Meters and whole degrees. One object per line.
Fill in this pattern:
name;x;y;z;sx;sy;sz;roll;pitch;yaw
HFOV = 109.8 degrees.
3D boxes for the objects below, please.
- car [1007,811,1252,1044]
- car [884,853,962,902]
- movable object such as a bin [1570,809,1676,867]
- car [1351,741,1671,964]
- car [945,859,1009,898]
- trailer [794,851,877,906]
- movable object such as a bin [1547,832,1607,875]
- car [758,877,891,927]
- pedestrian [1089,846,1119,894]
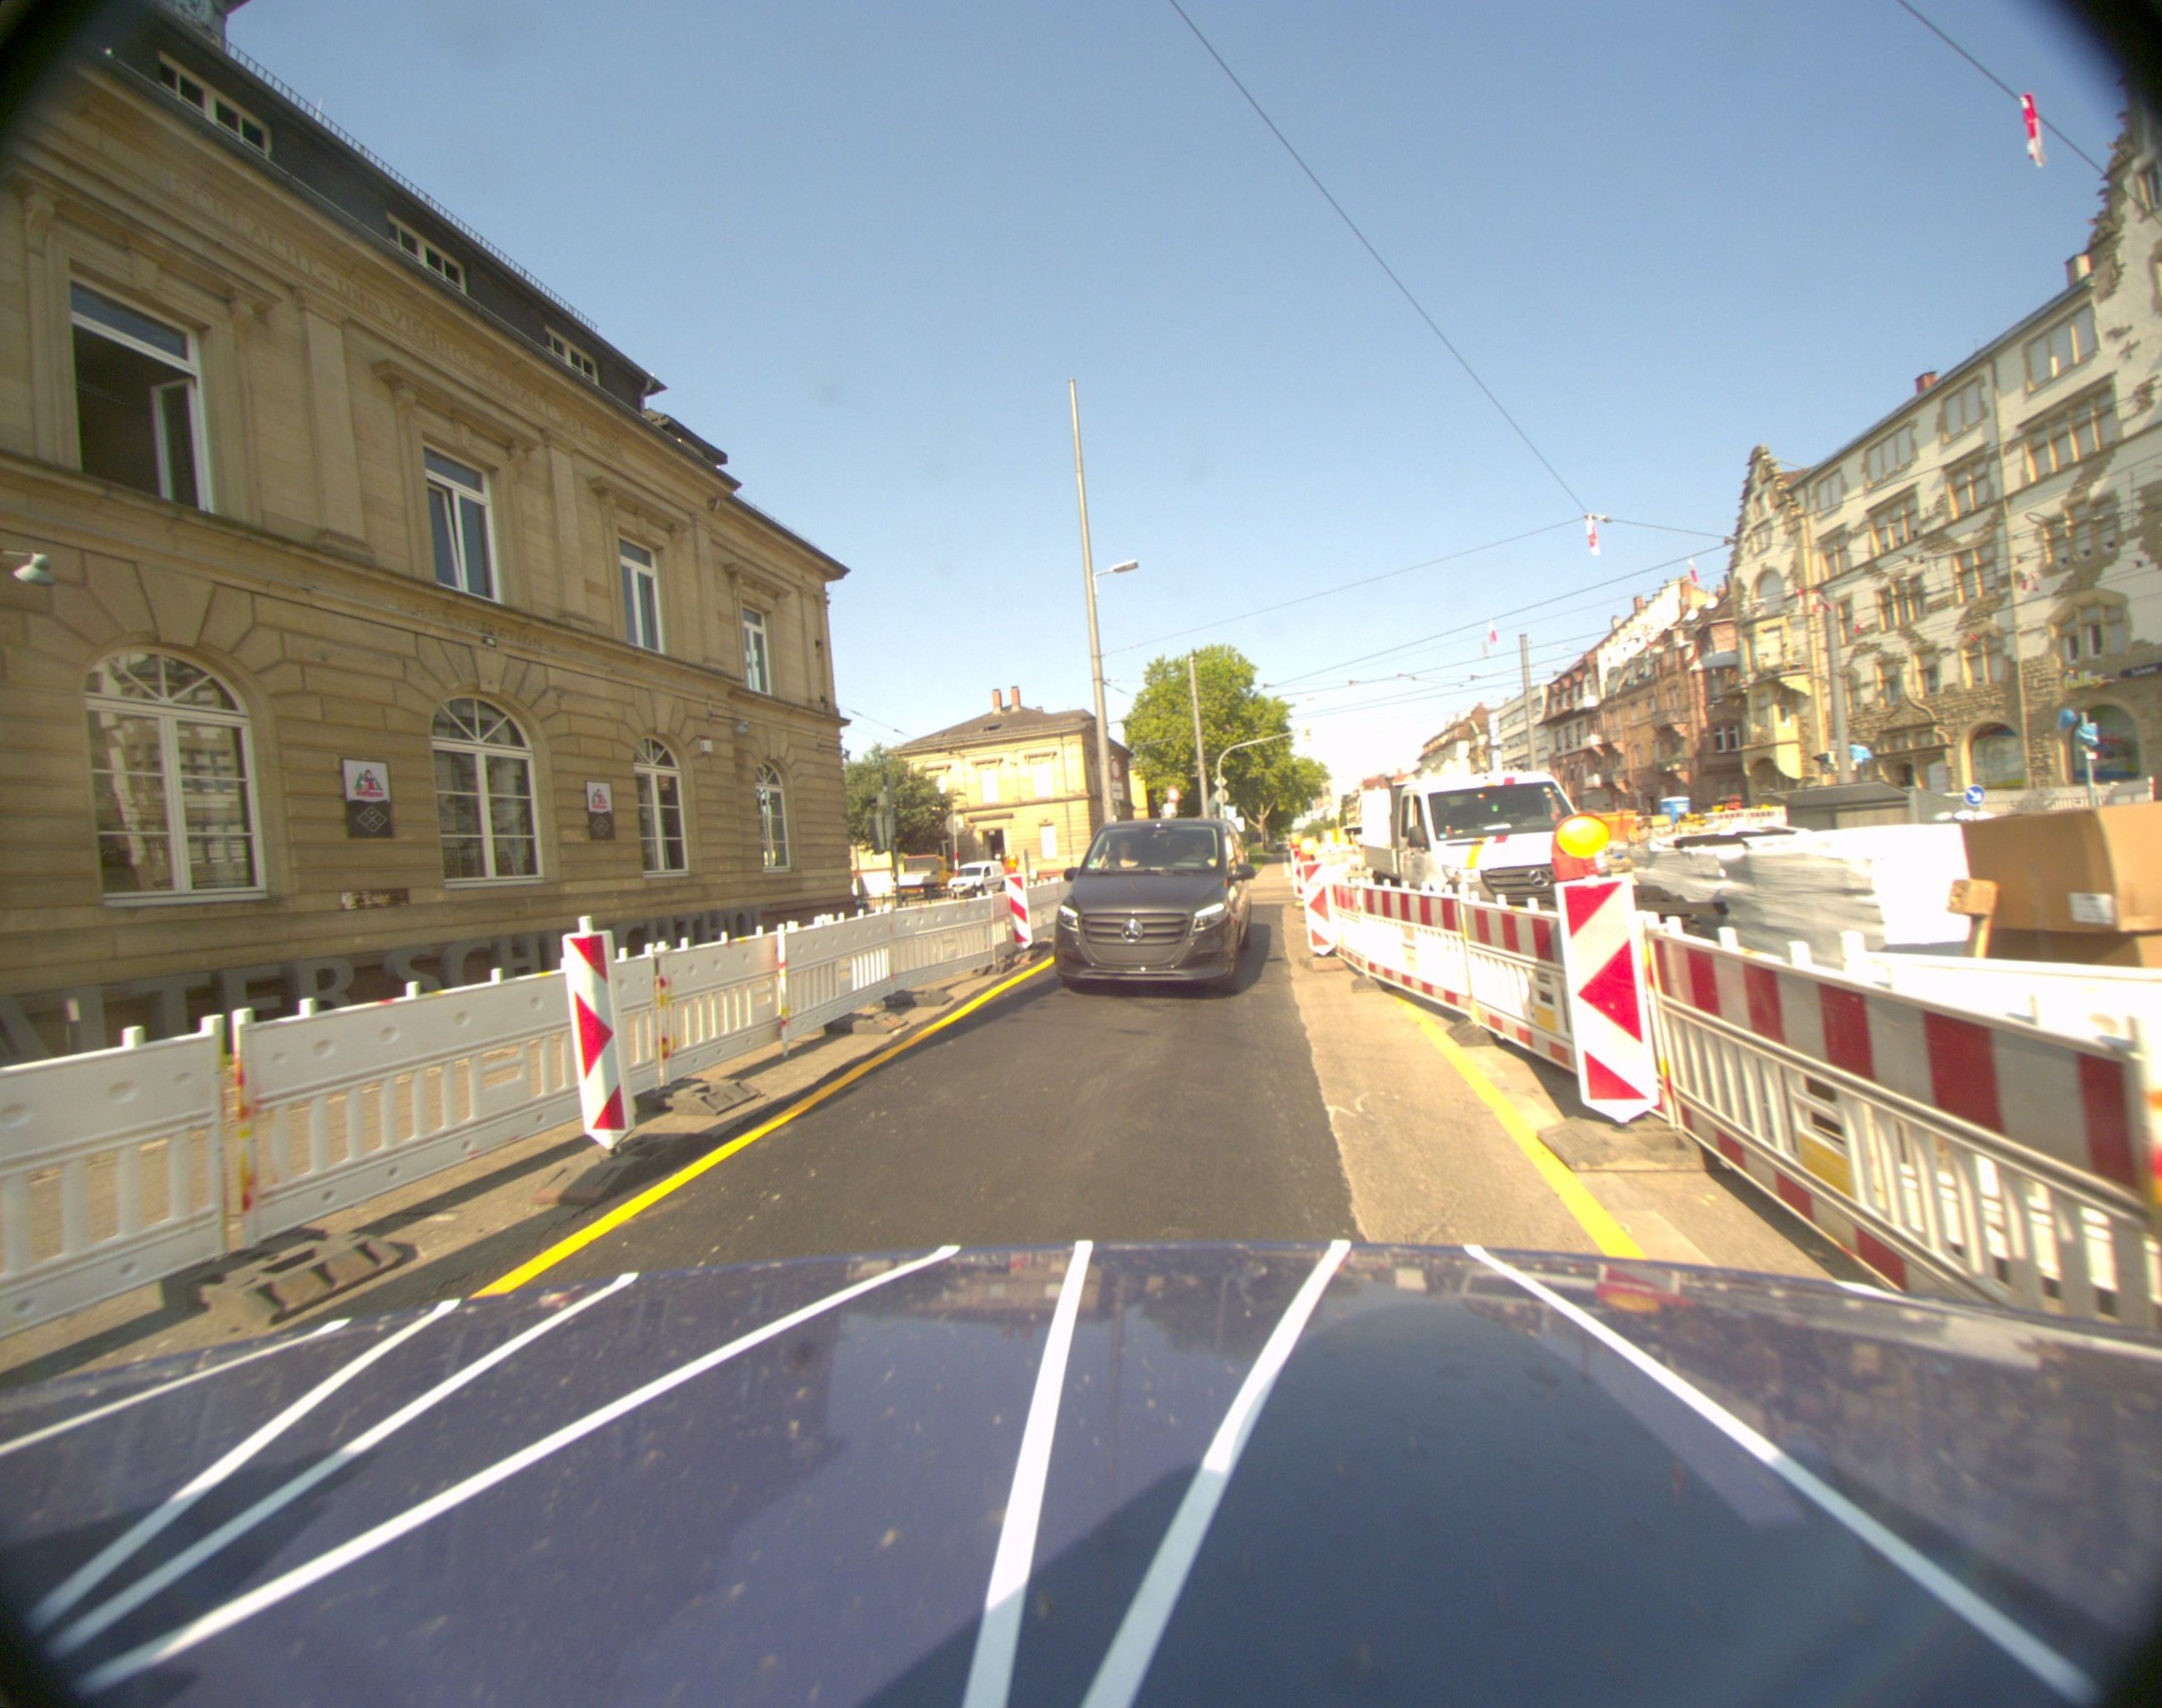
car;0.821;0.566;8.342;1.851;1.875;4.183;-1;1;15
car;-8.758;1.246;42.794;2.262;2.408;5.492;-4;0;10
movable object such as a bin;16.600;-0.497;23.448;1.602;1.549;3.289;-4;0;16
car;6.132;-0.049;12.221;2.211;2.410;7.205;-4;0;11
car;-5.422;1.261;40.258;1.907;1.773;4.228;-3;1;13
trailer;-15.816;1.530;49.074;4.115;3.030;2.515;-6;1;8
movable object such as a bin;15.260;-0.036;23.442;0.888;1.204;2.215;-4;0;16
car;-8.891;1.649;26.560;4.008;1.528;1.665;-1;2;2
pedestrian;0.869;0.591;28.504;0.868;1.727;0.671;-4;0;12
